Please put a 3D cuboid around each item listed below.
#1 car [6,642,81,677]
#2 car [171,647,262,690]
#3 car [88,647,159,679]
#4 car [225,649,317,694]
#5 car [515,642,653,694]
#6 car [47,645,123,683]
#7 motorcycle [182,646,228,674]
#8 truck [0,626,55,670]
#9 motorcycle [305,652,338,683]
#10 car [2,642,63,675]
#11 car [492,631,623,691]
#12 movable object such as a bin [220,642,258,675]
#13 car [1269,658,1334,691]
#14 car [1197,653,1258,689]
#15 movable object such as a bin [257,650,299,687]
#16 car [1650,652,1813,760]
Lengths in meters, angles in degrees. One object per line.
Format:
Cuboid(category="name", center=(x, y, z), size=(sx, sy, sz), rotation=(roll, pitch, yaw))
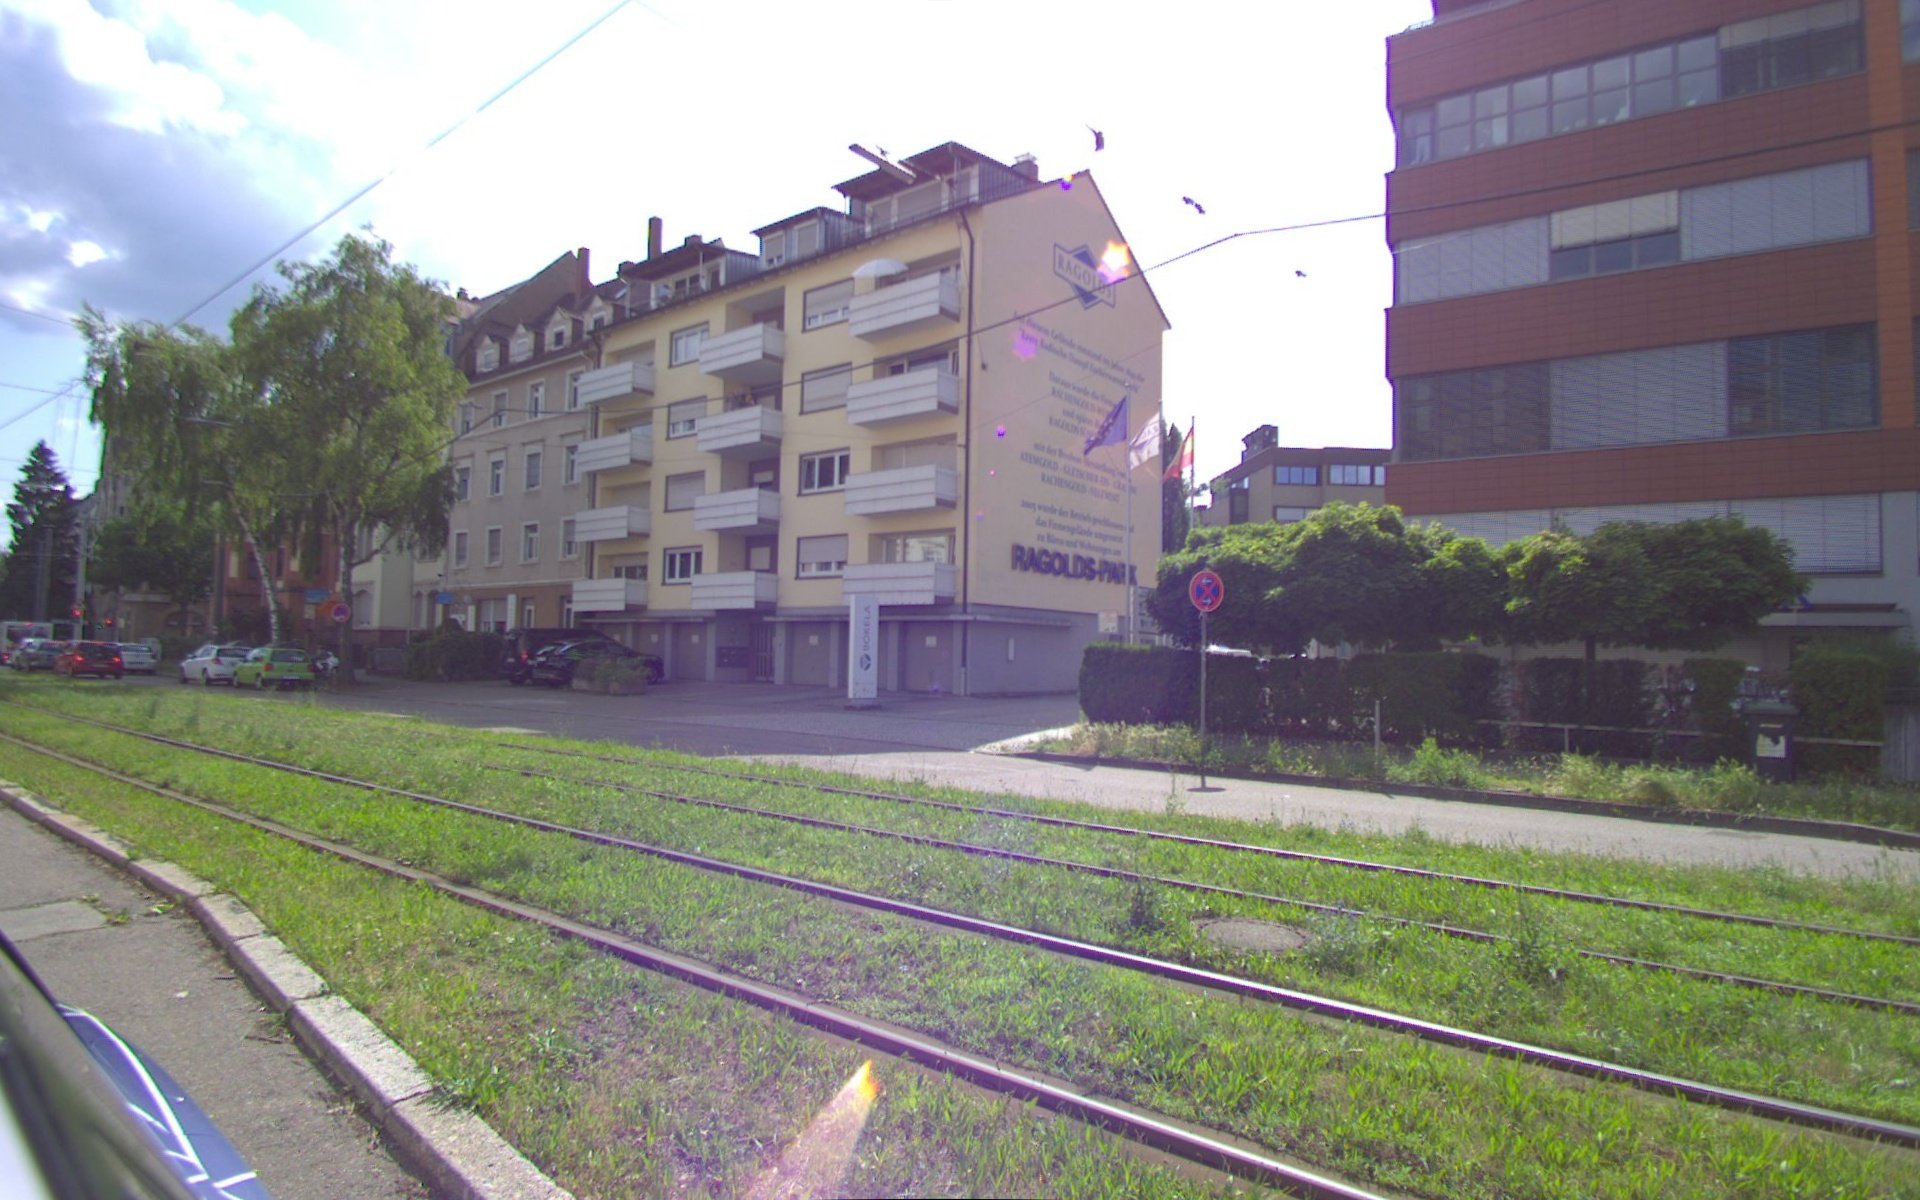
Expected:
Cuboid(category="car", center=(-39.841, 2.576, 43.959), size=(4.508, 1.366, 1.737), rotation=(-1, -6, 40))
Cuboid(category="car", center=(-27.659, 2.529, 37.622), size=(4.221, 1.489, 1.628), rotation=(-2, -6, 39))
Cuboid(category="car", center=(-38.079, 2.865, 46.068), size=(3.991, 1.366, 1.737), rotation=(-2, -5, 40))
Cuboid(category="car", center=(-23.615, 2.445, 34.670), size=(3.610, 1.443, 1.578), rotation=(-2, -5, 39))
Cuboid(category="car", center=(-12.701, 2.245, 34.375), size=(1.970, 1.614, 3.948), rotation=(-2, -2, 38))
Cuboid(category="car", center=(-34.145, 2.494, 39.465), size=(3.688, 1.397, 1.563), rotation=(-2, -5, 39))
Cuboid(category="motorcycle", center=(-34.381, 2.719, 46.103), size=(2.287, 1.252, 0.893), rotation=(-1, -4, 33))
Cuboid(category="truck", center=(-51.155, 2.623, 55.036), size=(6.611, 2.231, 2.161), rotation=(-2, -6, 43))
Cuboid(category="motorcycle", center=(-23.634, 2.480, 37.458), size=(1.630, 1.050, 0.494), rotation=(0, 0, 38))
Cuboid(category="car", center=(-44.407, 2.782, 48.439), size=(4.133, 1.425, 1.736), rotation=(-2, -6, 43))
Cuboid(category="car", center=(-14.413, 2.123, 36.392), size=(1.936, 2.029, 3.945), rotation=(-2, -3, 41))
Cuboid(category="movable object such as a bin", center=(-31.925, 2.570, 44.786), size=(1.519, 1.377, 0.942), rotation=(-2, 1, 38))
Cuboid(category="car", center=(18.960, 4.128, 56.392), size=(1.743, 1.708, 4.007), rotation=(2, -4, -9))
Cuboid(category="car", center=(14.347, 3.795, 54.485), size=(1.743, 1.827, 4.007), rotation=(2, -4, -9))
Cuboid(category="movable object such as a bin", center=(-27.129, 2.711, 40.264), size=(1.519, 1.441, 0.942), rotation=(-2, -2, 38))
Cuboid(category="car", center=(13.185, 1.745, 17.507), size=(1.995, 1.608, 3.952), rotation=(-1, -4, 35))
